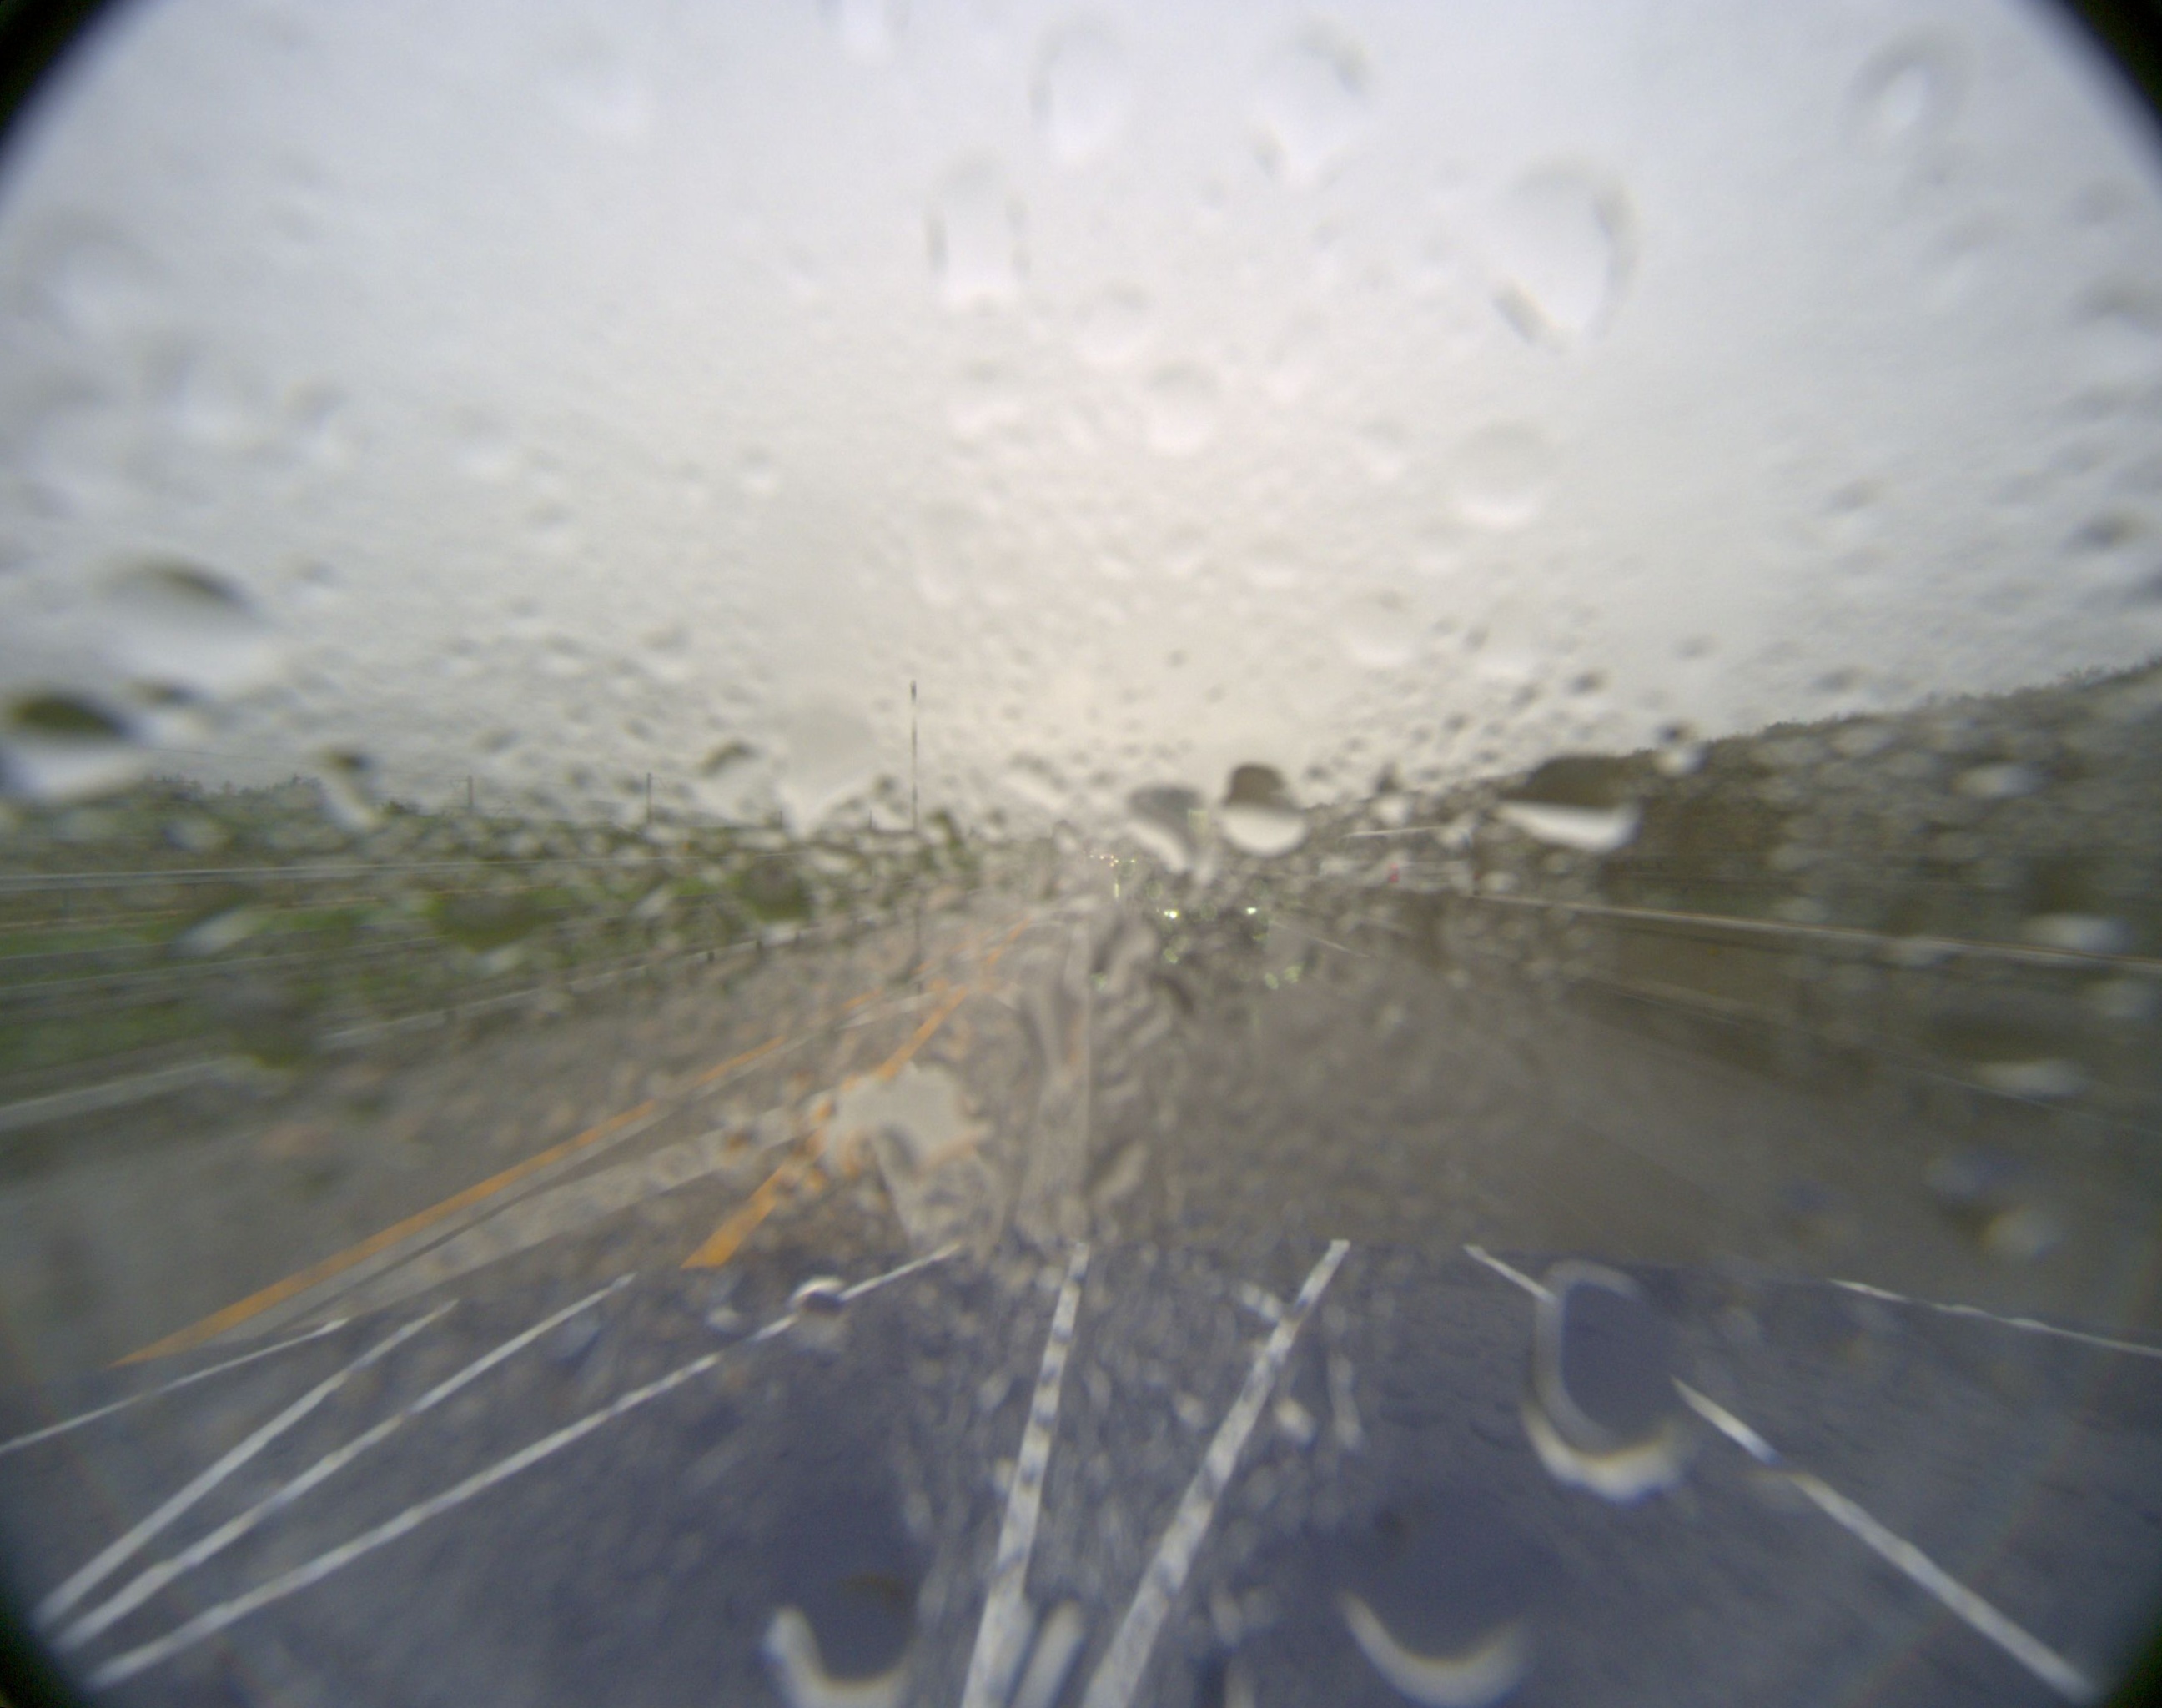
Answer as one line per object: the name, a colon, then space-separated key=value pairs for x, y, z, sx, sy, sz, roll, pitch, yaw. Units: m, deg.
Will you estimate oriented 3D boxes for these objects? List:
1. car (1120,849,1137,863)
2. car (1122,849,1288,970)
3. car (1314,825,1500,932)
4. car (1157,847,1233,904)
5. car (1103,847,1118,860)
car: x=4.057 y=0.174 z=65.718 sx=1.335 sy=1.105 sz=3.199 roll=1 pitch=0 yaw=2
car: x=1.748 y=0.709 z=12.331 sx=1.944 sy=1.519 sz=4.795 roll=0 pitch=1 yaw=1
car: x=6.928 y=0.439 z=16.847 sx=1.949 sy=1.958 sz=4.934 roll=-2 pitch=1 yaw=0
car: x=3.690 y=0.641 z=25.252 sx=1.971 sy=1.670 sz=3.999 roll=0 pitch=1 yaw=1
car: x=4.387 y=-0.085 z=113.933 sx=1.998 sy=1.762 sz=3.999 roll=-2 pitch=1 yaw=1
